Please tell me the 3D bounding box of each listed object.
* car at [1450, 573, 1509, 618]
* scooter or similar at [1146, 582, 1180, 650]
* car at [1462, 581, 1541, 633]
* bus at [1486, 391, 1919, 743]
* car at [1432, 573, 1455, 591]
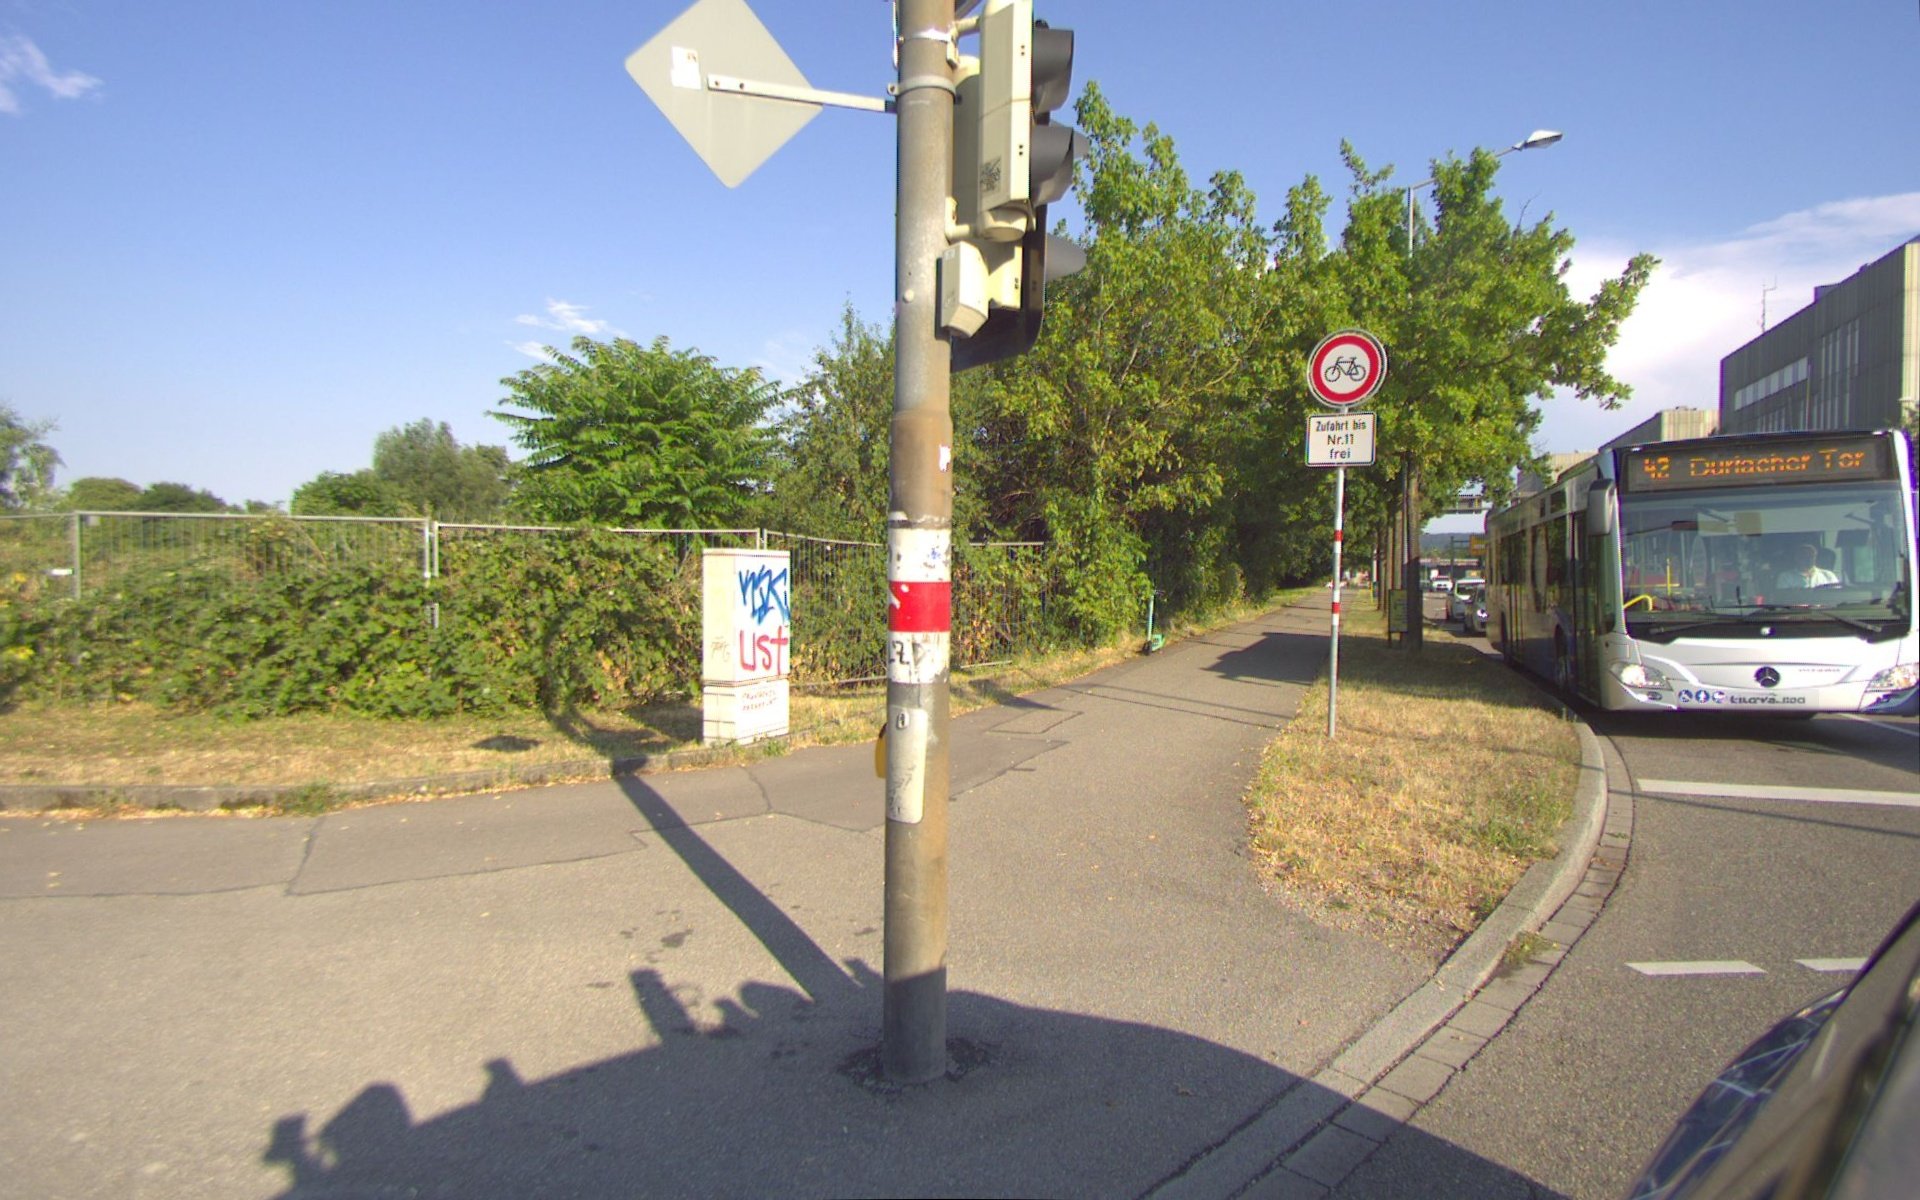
[{"bbox_3d":[19.548,-0.199,38.195,1.566,1.581,3.603,1,1,21],"label":"car"},{"bbox_3d":[3.546,0.266,17.616,0.247,1.140,1.085,4,2,27],"label":"scooter or similar"},{"bbox_3d":[16.021,0.156,30.088,1.566,1.441,3.603,1,1,21],"label":"car"},{"bbox_3d":[9.678,-0.390,14.640,2.566,3.081,11.633,-1,1,22],"label":"bus"},{"bbox_3d":[44.977,-1.692,94.147,1.566,1.581,3.603,1,1,21],"label":"car"}]
